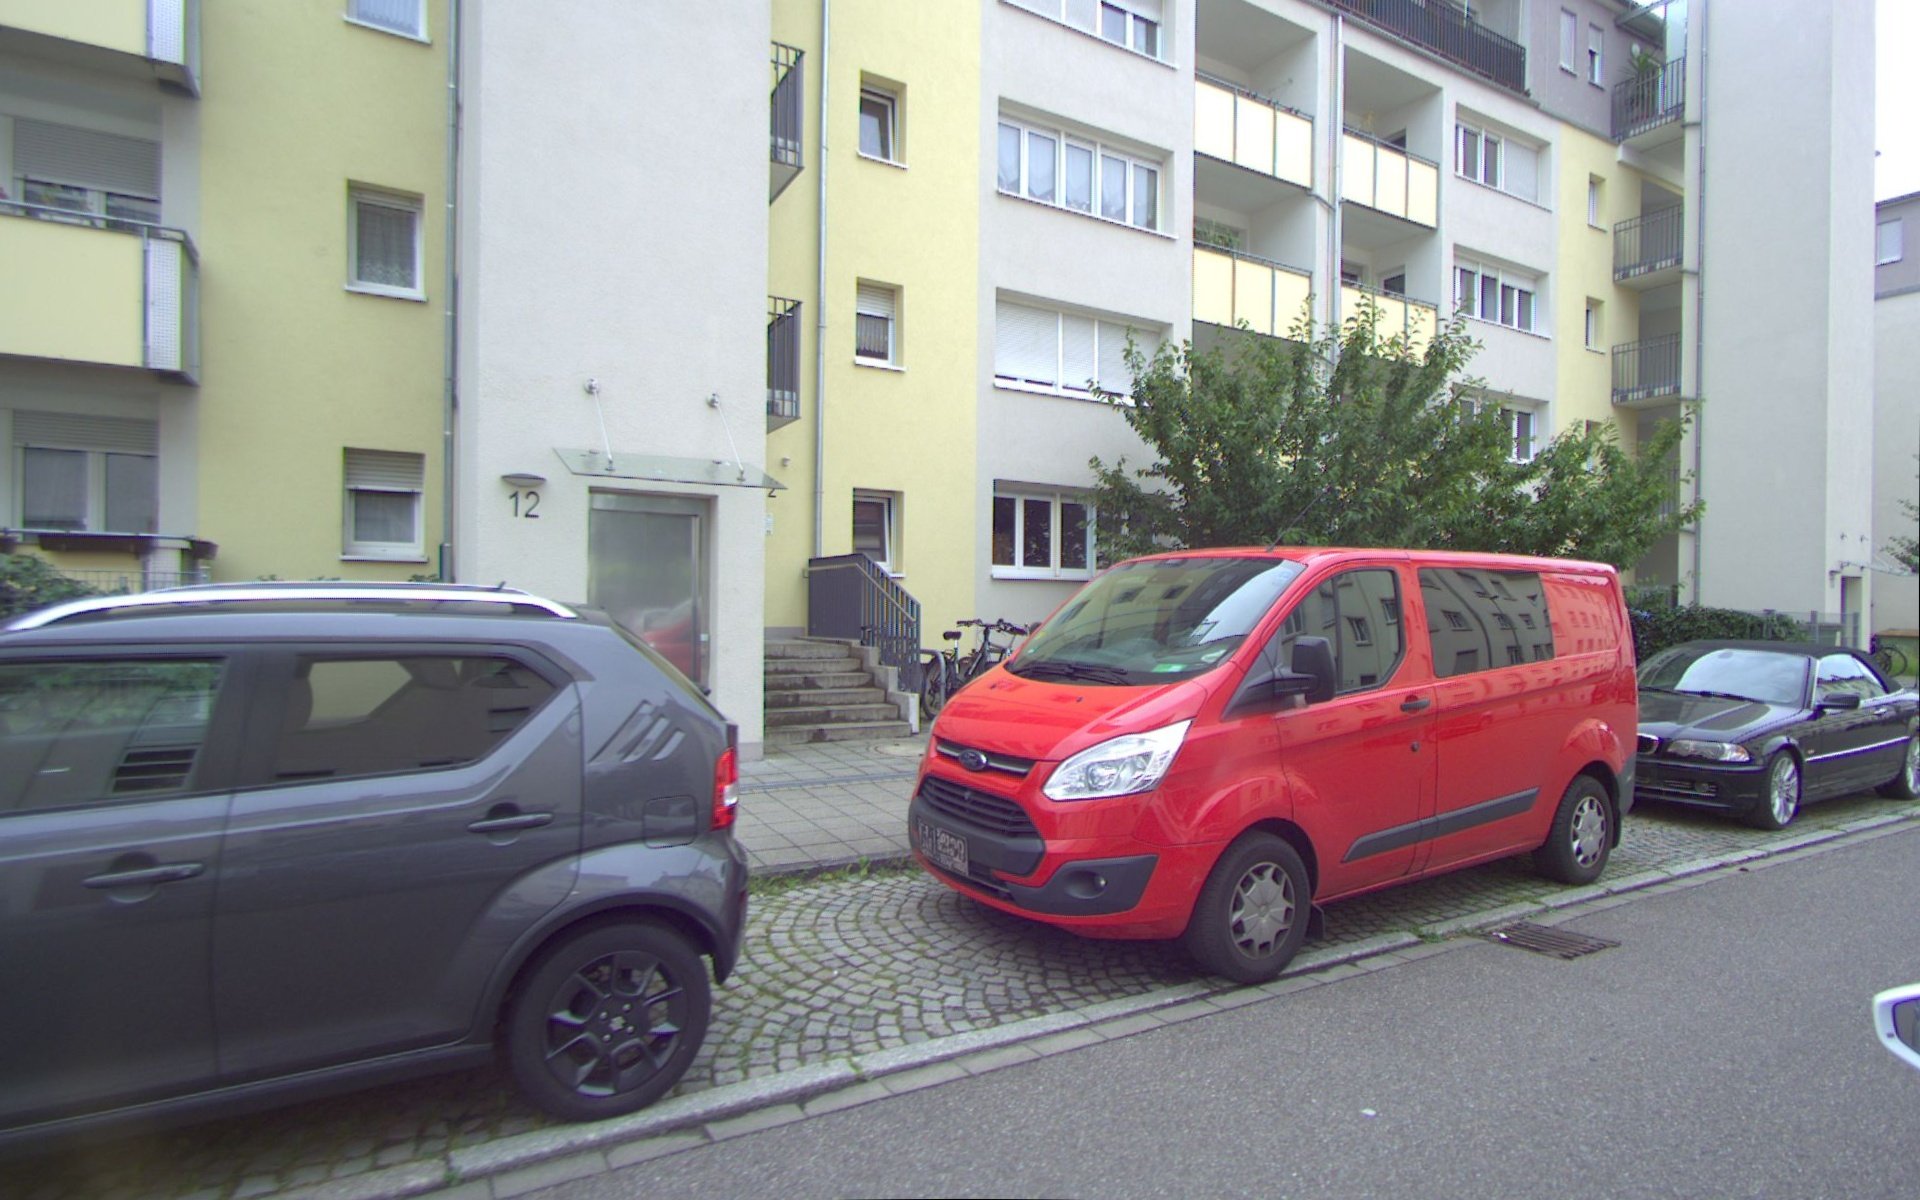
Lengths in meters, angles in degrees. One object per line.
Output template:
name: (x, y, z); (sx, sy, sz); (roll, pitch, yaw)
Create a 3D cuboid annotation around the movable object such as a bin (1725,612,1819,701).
movable object such as a bin: (13.838, 0.940, 17.123); (1.271, 1.448, 0.800); (1, 0, -28)

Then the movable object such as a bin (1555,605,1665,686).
movable object such as a bin: (12.639, 0.858, 19.551); (1.357, 1.484, 1.345); (1, 0, -31)

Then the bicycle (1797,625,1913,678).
bicycle: (21.339, 1.204, 23.991); (0.618, 1.157, 2.006); (1, -1, -39)

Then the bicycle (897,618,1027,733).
bicycle: (-0.016, 0.794, 11.232); (0.598, 1.133, 1.825); (1, 0, -31)

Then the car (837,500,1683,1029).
car: (1.945, 0.623, 5.972); (4.868, 1.980, 2.139); (1, 1, -33)

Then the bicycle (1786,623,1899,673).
bicycle: (21.826, 1.168, 24.889); (0.616, 1.157, 2.011); (1, -1, -33)

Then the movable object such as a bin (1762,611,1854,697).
movable object such as a bin: (14.983, 0.935, 17.750); (1.271, 1.448, 0.801); (1, 0, -27)

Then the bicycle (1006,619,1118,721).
bicycle: (1.213, 0.811, 12.371); (0.562, 1.133, 1.830); (0, 0, -23)

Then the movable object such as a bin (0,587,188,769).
movable object such as a bin: (-6.917, 0.589, 8.069); (1.025, 1.341, 0.888); (1, -1, -31)

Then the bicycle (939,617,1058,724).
bicycle: (0.410, 0.783, 11.832); (0.563, 1.133, 1.827); (1, 0, -28)

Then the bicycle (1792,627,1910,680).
bicycle: (20.868, 1.236, 23.570); (0.618, 1.157, 2.006); (1, -1, -39)

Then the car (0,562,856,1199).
car: (-2.510, 0.694, 3.073); (4.006, 1.591, 1.712); (1, 1, -30)

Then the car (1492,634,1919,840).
car: (6.901, 1.025, 8.974); (4.312, 1.341, 1.860); (1, 1, -32)
